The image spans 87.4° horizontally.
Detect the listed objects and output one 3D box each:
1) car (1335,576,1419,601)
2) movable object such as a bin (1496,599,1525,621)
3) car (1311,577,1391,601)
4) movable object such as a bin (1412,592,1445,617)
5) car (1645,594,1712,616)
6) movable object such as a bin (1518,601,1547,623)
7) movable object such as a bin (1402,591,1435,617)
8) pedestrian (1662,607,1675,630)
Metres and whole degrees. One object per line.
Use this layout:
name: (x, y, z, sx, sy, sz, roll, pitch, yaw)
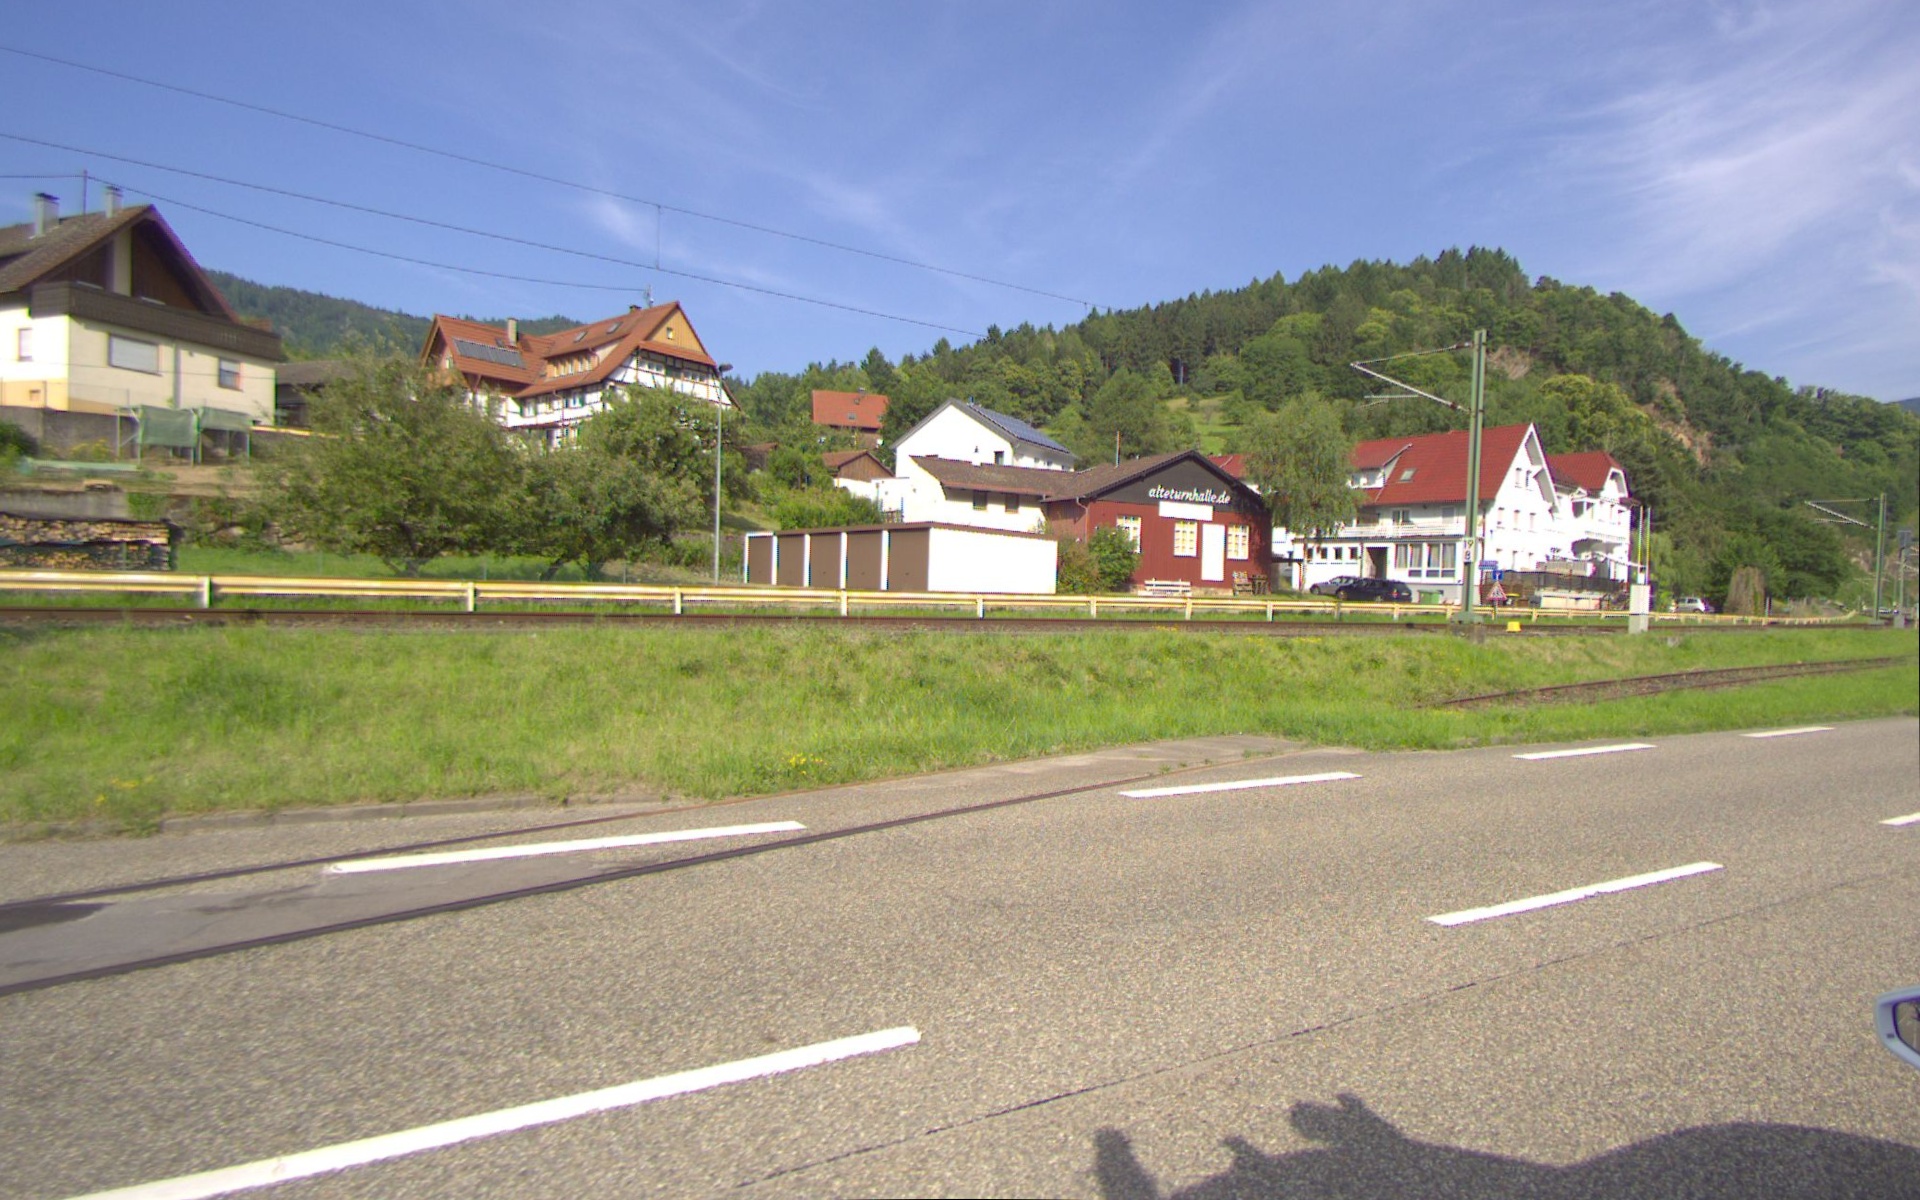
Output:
car: (23.338, -0.647, 56.357, 1.720, 1.288, 4.066, 0, 2, -36)
movable object such as a bin: (31.771, 0.573, 57.968, 1.133, 1.208, 1.081, 1, 2, -38)
car: (23.641, -0.659, 60.871, 1.739, 1.347, 4.222, 0, 2, -37)
movable object such as a bin: (23.441, 0.227, 50.252, 1.086, 1.208, 1.128, 0, 2, -44)
car: (60.232, 0.379, 84.237, 1.982, 1.714, 4.112, 1, 1, -38)
movable object such as a bin: (32.548, 0.671, 57.112, 1.133, 1.208, 1.081, 1, 2, -38)
movable object such as a bin: (22.552, 0.189, 49.411, 1.086, 1.208, 1.128, 0, 2, -44)
pedestrian: (53.083, 1.375, 75.266, 0.672, 1.638, 0.601, 0, 2, -41)
